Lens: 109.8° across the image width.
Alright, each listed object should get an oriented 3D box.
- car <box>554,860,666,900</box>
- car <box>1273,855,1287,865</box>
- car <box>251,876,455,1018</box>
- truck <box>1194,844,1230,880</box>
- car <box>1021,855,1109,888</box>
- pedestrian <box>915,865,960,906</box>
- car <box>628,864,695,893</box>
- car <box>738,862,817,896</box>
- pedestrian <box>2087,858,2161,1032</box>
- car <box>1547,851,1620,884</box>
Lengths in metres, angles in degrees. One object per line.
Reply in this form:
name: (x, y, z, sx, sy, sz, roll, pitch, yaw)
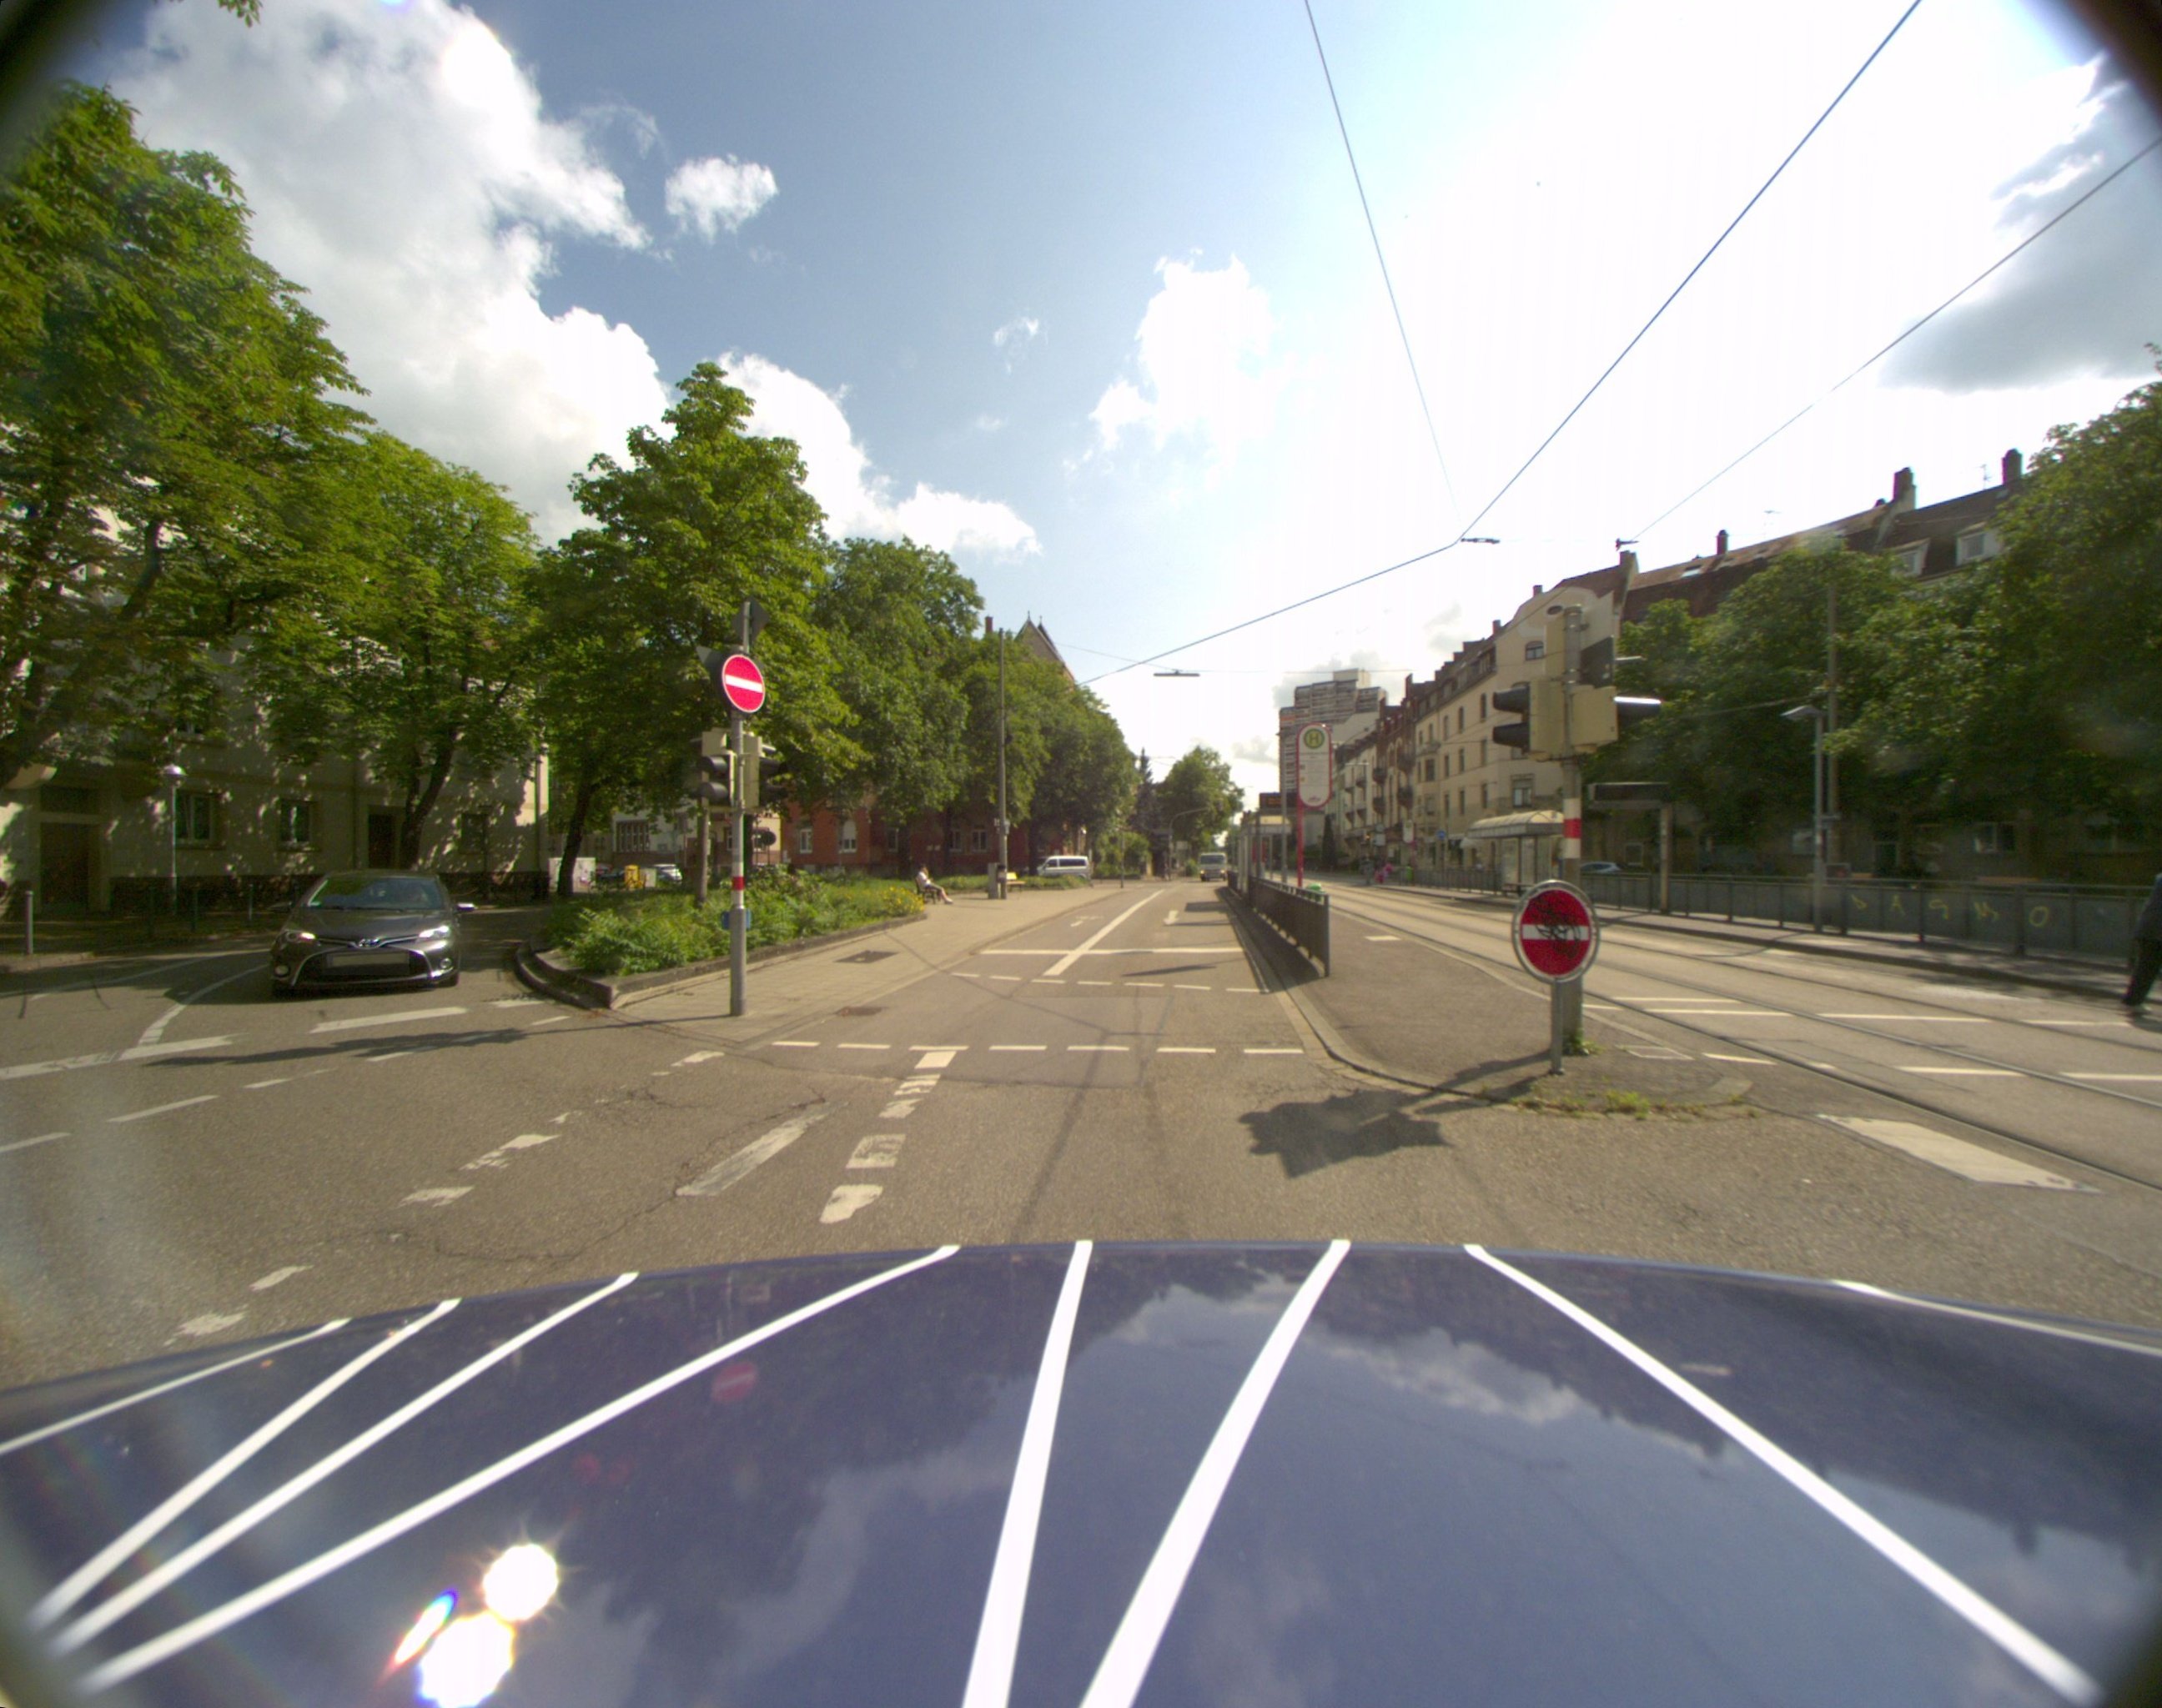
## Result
car: (-21.045, 1.145, 34.029, 3.996, 1.543, 1.651, -2, 0, 4)
car: (31.895, 0.962, 121.949, 1.839, 1.482, 3.895, 0, 0, 9)
car: (-9.497, 1.073, 10.192, 1.633, 1.482, 3.721, 2, -2, -39)
truck: (10.596, 0.619, 61.123, 2.529, 2.721, 6.522, 0, 0, 13)
car: (-1.019, 1.101, 49.100, 5.298, 2.002, 2.278, 0, 0, -34)
pedestrian: (-4.494, 0.988, 23.906, 1.159, 1.195, 0.907, 3, 0, 1)
car: (-33.181, 1.899, 60.074, 5.219, 2.255, 2.288, -1, 0, 32)
car: (-21.156, 1.728, 52.996, 5.220, 2.255, 2.288, 0, 0, 29)
pedestrian: (10.075, 0.823, 7.059, 0.715, 1.565, 0.586, 0, 0, -5)
car: (29.724, 0.807, 45.088, 3.419, 1.841, 1.615, -2, 0, 28)
